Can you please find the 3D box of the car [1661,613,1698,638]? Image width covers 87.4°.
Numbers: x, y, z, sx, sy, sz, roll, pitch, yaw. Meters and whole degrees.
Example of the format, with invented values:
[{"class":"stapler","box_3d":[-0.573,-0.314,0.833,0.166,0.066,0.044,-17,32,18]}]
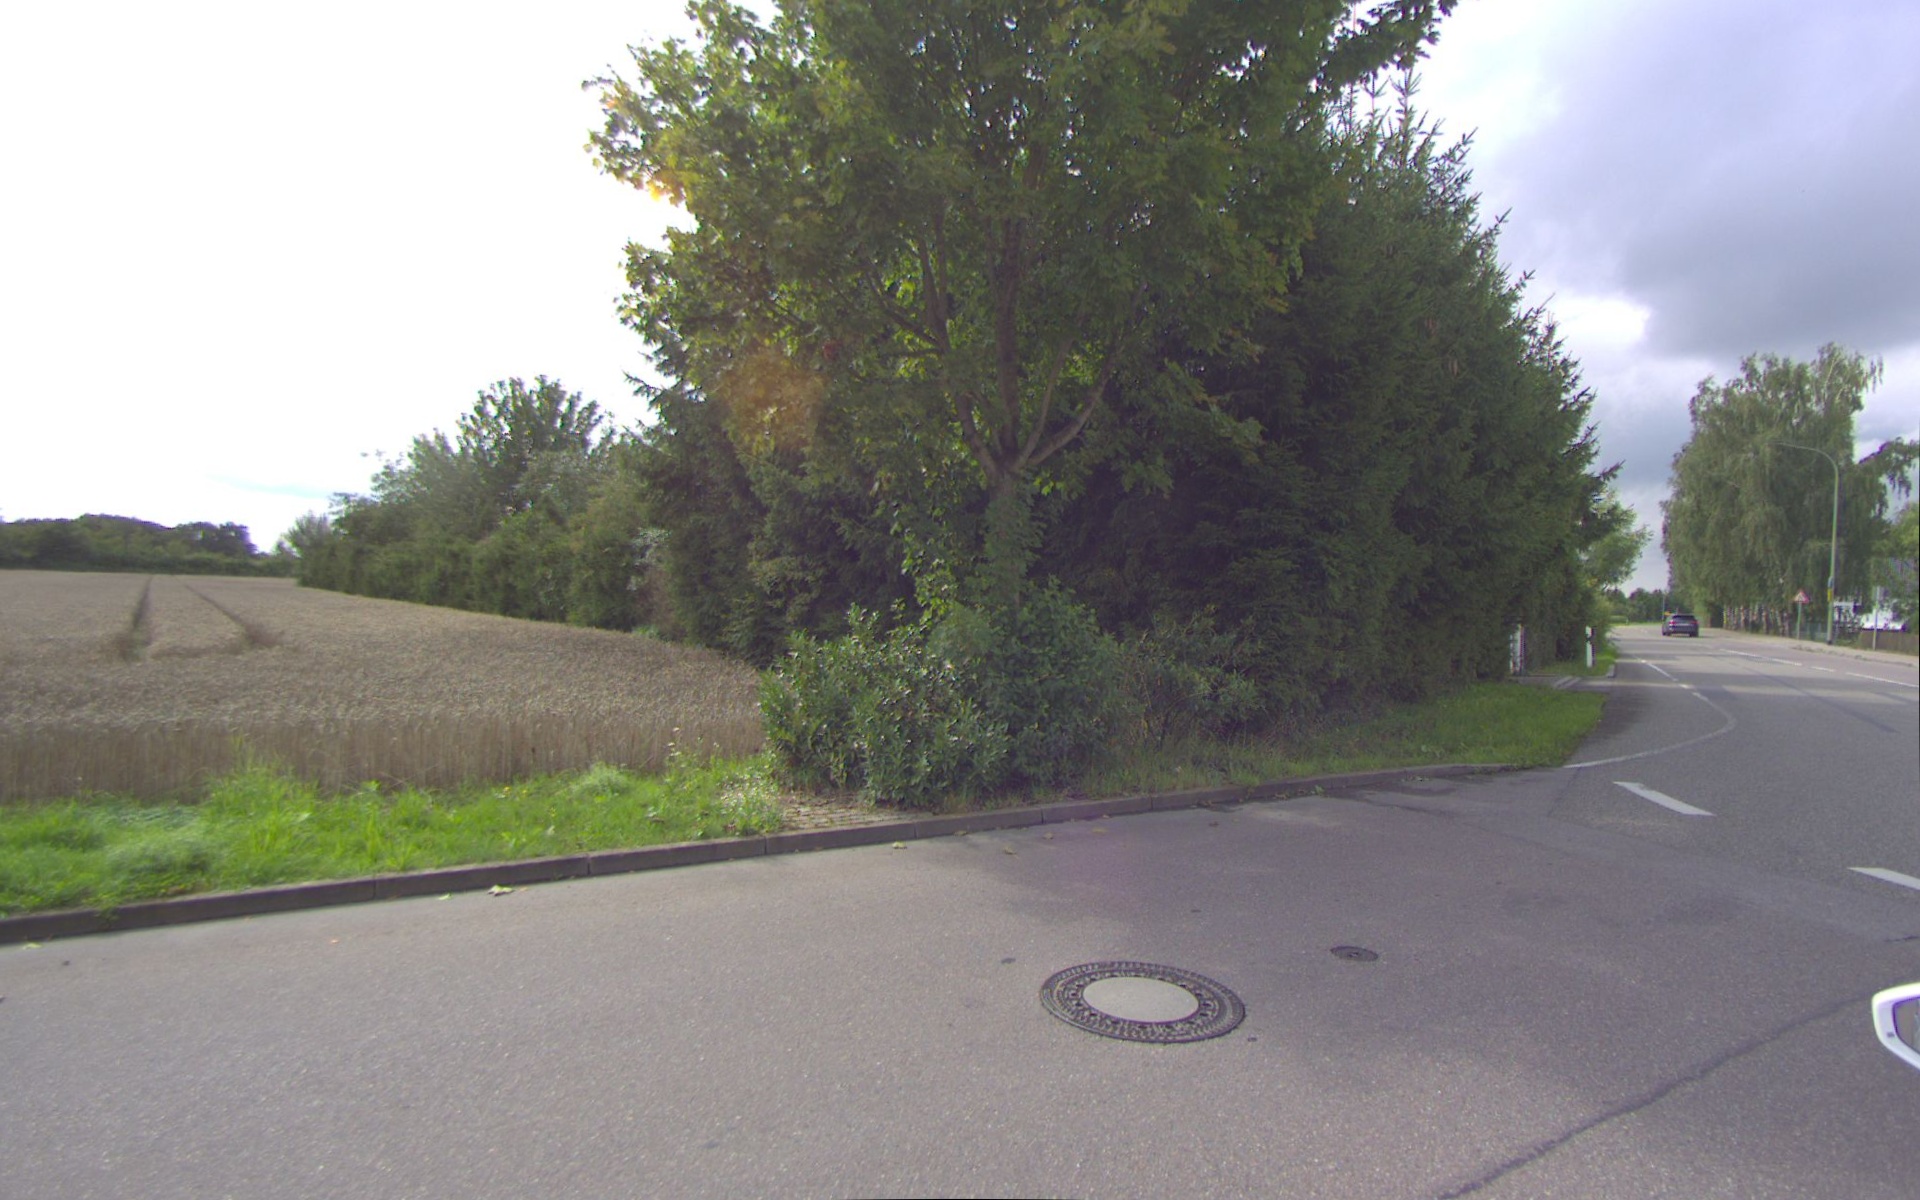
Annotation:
[{"class":"car","box_3d":[49.901,1.768,69.684,1.967,1.573,3.986,3,1,36]}]
